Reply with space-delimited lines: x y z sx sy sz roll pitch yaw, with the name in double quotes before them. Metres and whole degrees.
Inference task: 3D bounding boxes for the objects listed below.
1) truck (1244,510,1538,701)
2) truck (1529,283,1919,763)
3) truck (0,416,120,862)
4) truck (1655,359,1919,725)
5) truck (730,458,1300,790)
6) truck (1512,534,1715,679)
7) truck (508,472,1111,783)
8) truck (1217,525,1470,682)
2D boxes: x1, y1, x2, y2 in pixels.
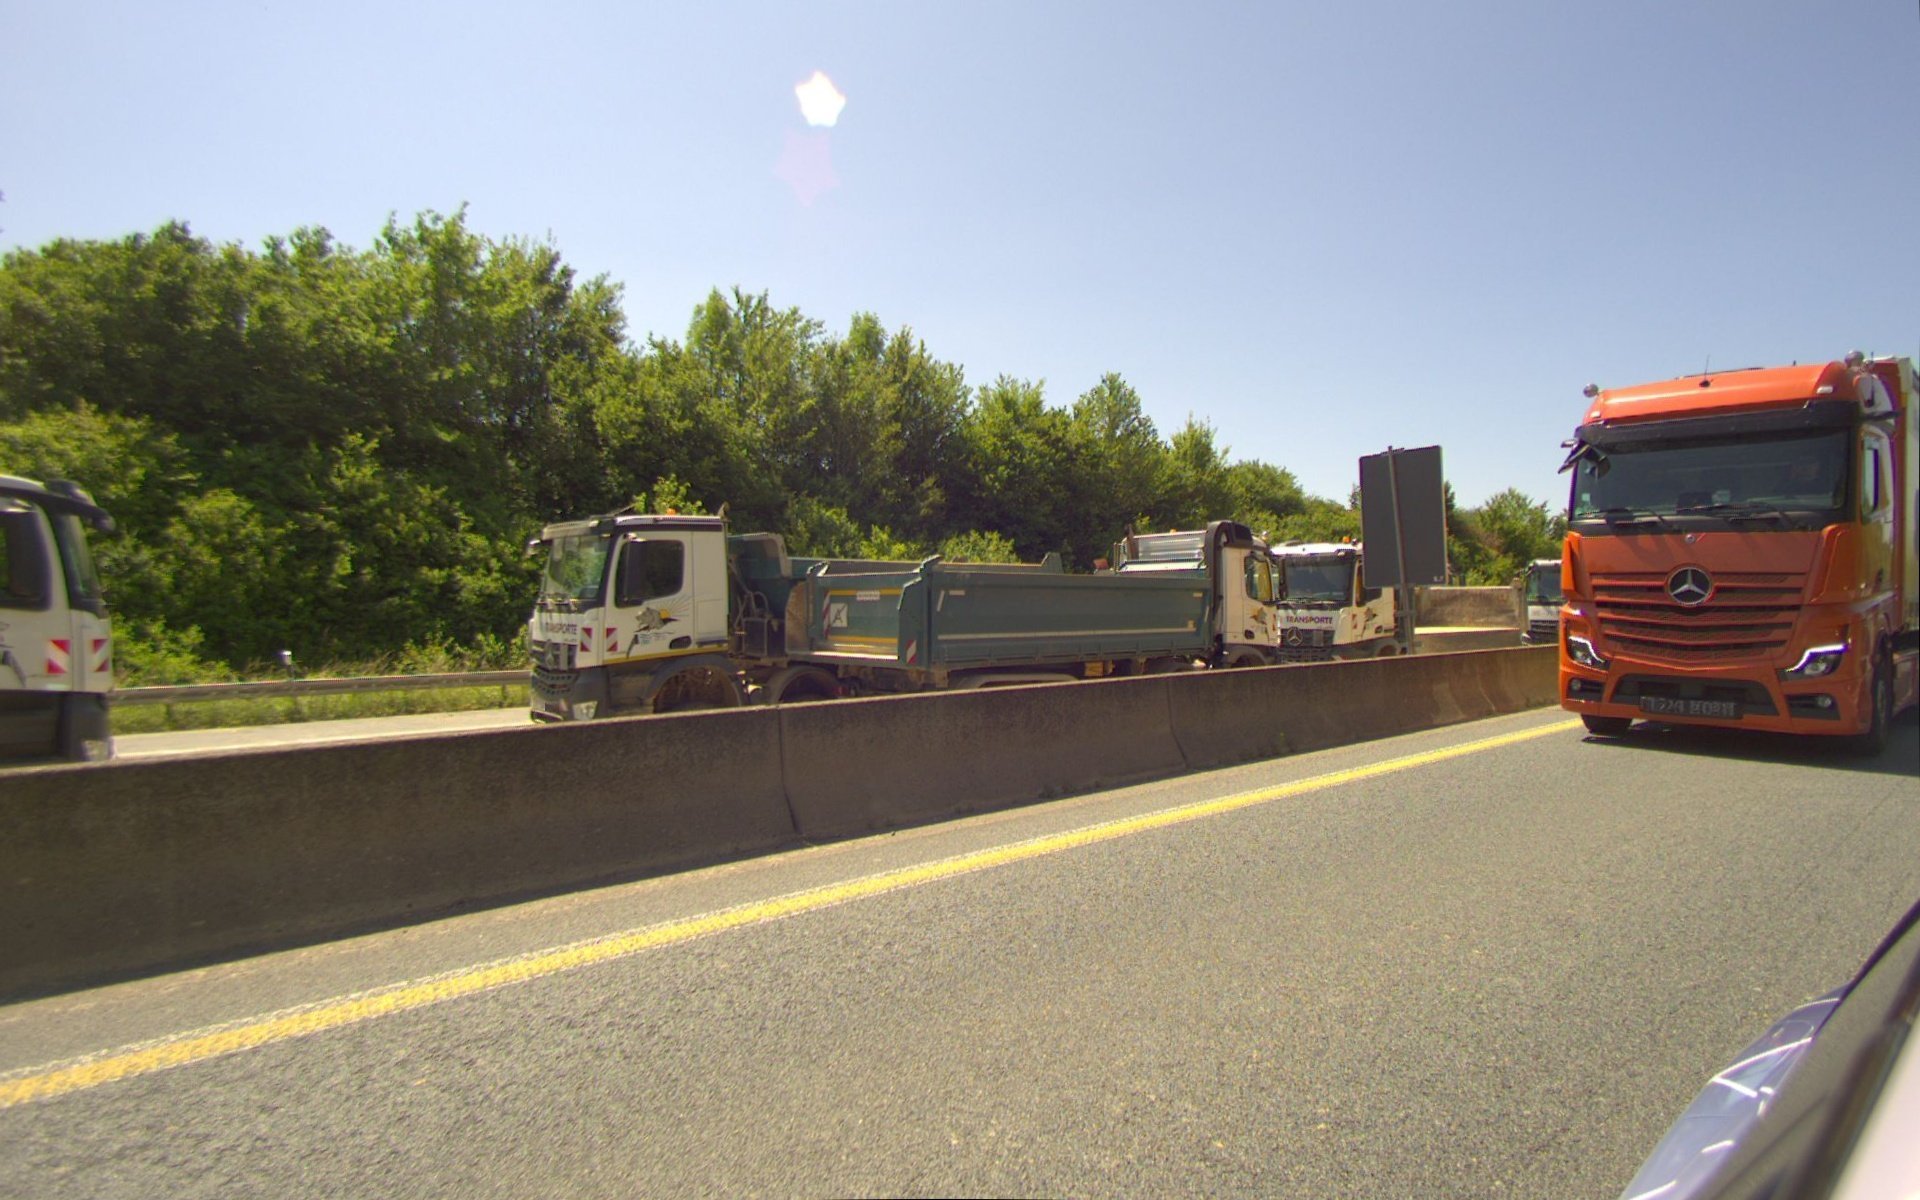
"truck" 9.933 0.086 22.667 8.789 3.555 2.537 0 0 -42
"truck" 9.374 -0.688 11.712 6.606 4.061 2.687 -1 0 -40
"truck" -11.603 0.332 6.552 9.436 3.602 2.691 0 0 -42
"truck" 14.855 -0.717 16.331 12.986 4.061 2.687 -1 0 -40
"truck" 1.427 0.244 15.076 9.436 3.602 2.542 0 0 -42
"truck" 18.819 0.143 28.851 8.939 3.555 2.537 0 0 -42
"truck" -1.740 0.296 15.873 9.435 3.602 2.691 0 0 -41
"truck" 10.274 0.062 26.558 8.235 3.555 2.691 0 0 -41
